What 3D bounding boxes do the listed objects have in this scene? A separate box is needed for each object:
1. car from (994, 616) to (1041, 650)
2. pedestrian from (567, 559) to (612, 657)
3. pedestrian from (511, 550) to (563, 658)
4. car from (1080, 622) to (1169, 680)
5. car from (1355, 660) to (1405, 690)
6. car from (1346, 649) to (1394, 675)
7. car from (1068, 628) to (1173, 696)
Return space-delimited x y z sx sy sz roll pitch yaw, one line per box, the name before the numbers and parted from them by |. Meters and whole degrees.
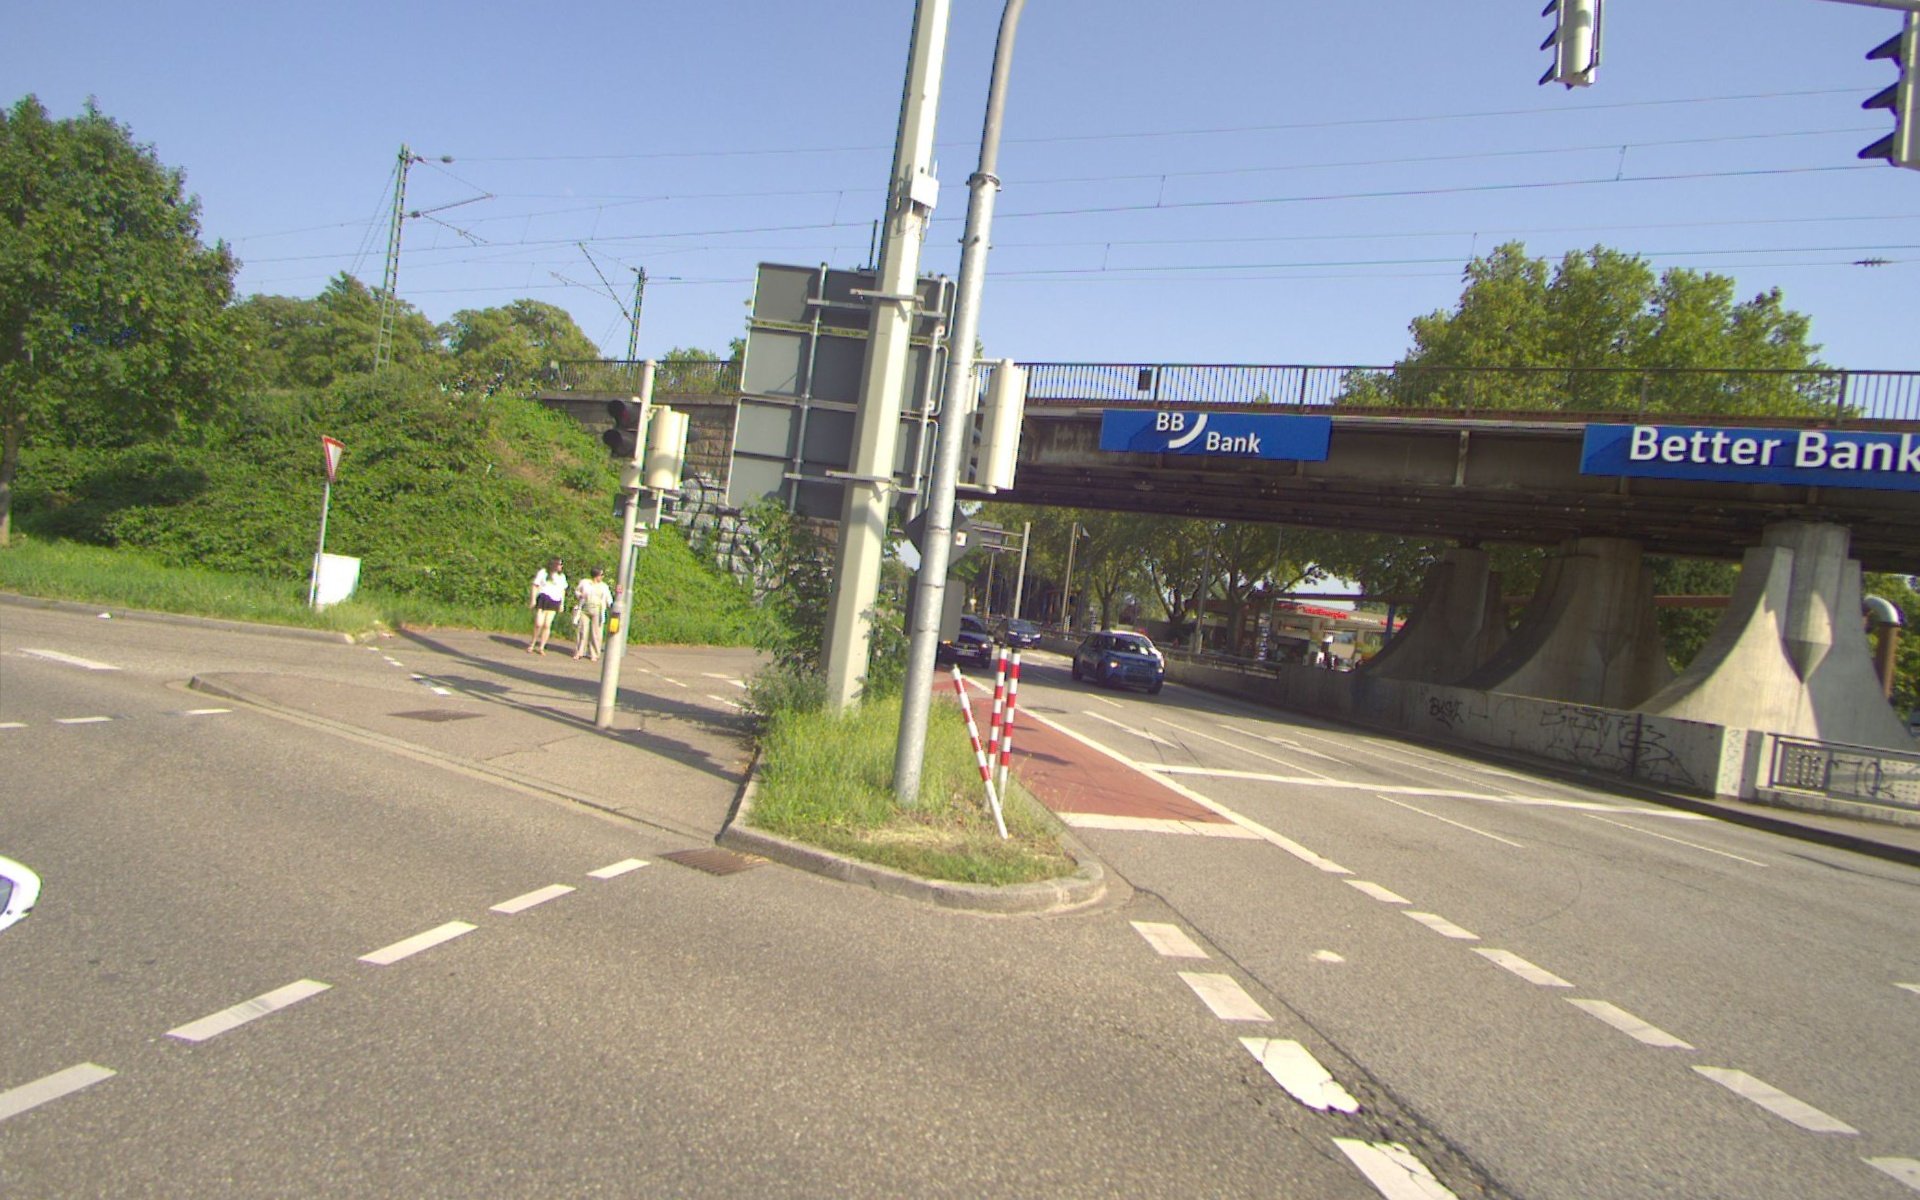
car | 3.064 1.778 54.675 1.768 1.529 3.996 6 -1 -6
pedestrian | -6.314 0.129 17.159 0.528 1.586 0.570 7 0 -19
pedestrian | -7.117 0.063 16.901 0.565 1.703 0.488 7 3 -29
car | 5.897 1.804 36.697 1.976 1.637 4.213 7 -1 -6
car | 36.266 6.465 86.948 2.093 2.038 3.995 7 -1 -8
car | 40.997 6.153 100.648 1.966 2.038 5.104 7 -1 -8
car | 4.374 1.671 28.089 1.590 1.470 3.994 6 -1 -9
